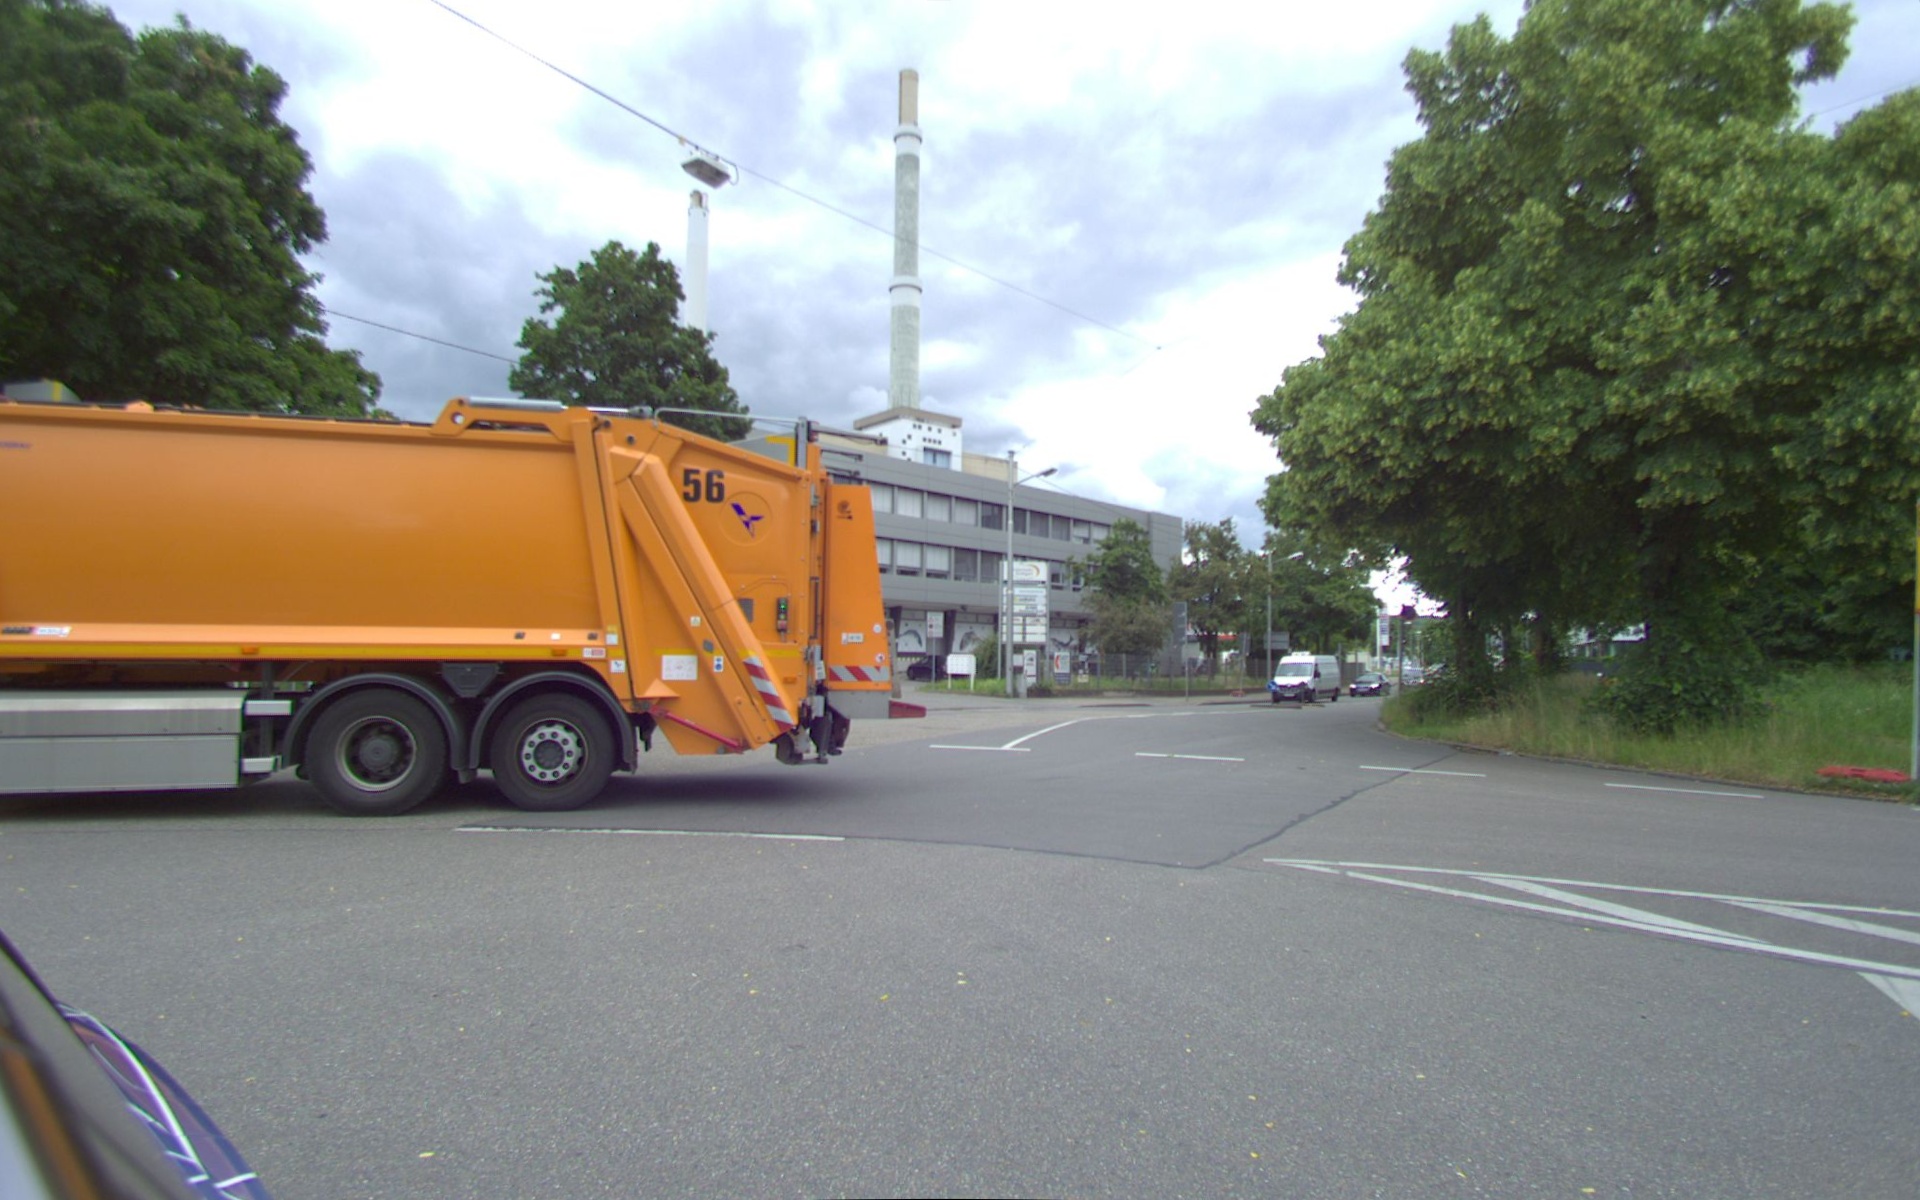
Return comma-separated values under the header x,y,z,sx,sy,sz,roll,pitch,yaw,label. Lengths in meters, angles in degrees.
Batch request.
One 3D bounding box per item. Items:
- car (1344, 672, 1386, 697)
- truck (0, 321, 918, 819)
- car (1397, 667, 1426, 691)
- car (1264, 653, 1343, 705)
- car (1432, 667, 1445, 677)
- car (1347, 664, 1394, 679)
x,y,z,sx,sy,sz,roll,pitch,yaw,label
25.389,5.266,63.419,1.858,1.524,4.396,-2,-4,29,car
-5.700,-0.169,8.916,10.247,3.554,2.805,0,-3,-14,truck
33.060,5.755,74.188,1.784,1.653,4.407,-1,-4,22,car
17.725,4.029,52.026,2.383,2.478,6.030,-3,-5,33,car
79.530,11.998,168.262,1.786,1.653,4.403,-2,-4,25,car
53.636,9.372,132.244,5.435,1.884,2.009,-2,-4,26,car
